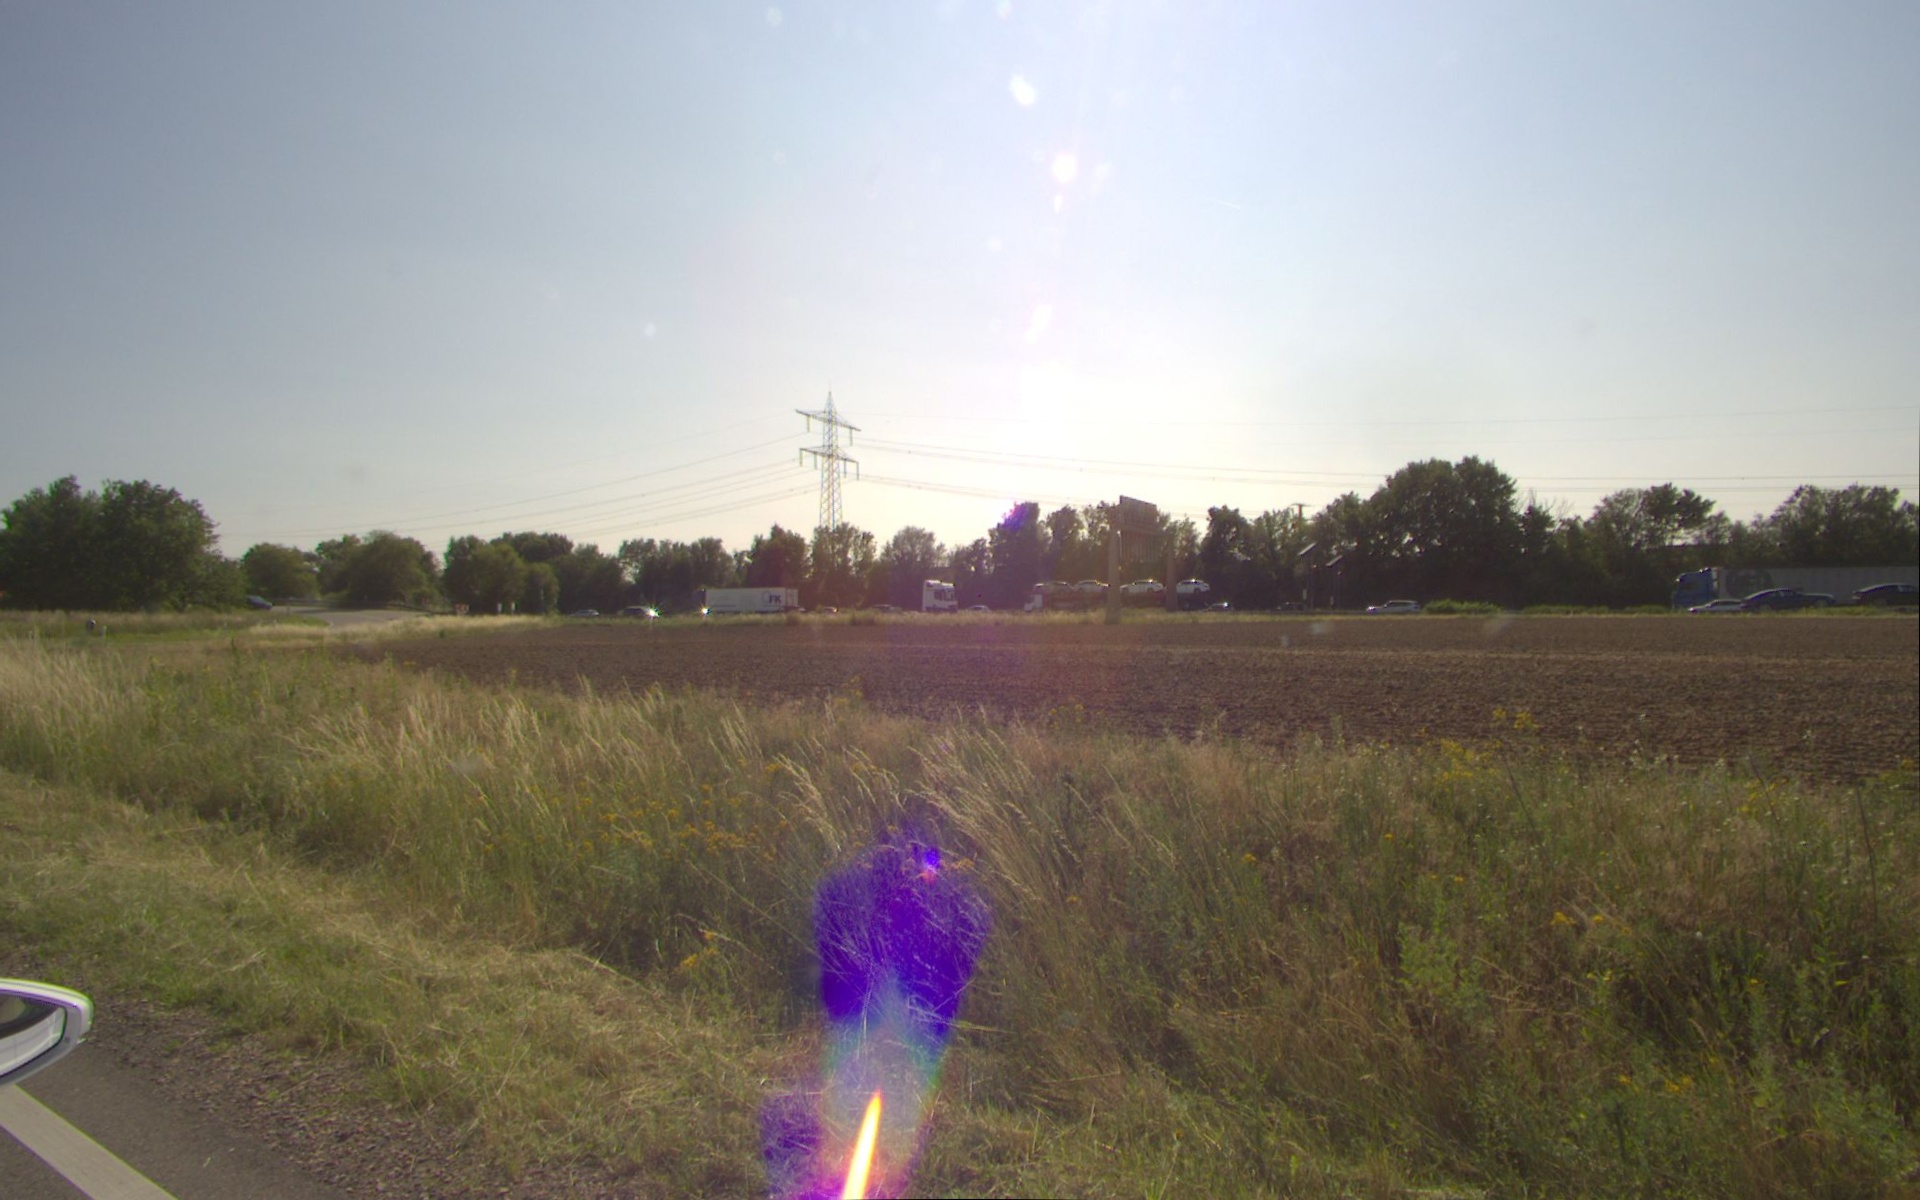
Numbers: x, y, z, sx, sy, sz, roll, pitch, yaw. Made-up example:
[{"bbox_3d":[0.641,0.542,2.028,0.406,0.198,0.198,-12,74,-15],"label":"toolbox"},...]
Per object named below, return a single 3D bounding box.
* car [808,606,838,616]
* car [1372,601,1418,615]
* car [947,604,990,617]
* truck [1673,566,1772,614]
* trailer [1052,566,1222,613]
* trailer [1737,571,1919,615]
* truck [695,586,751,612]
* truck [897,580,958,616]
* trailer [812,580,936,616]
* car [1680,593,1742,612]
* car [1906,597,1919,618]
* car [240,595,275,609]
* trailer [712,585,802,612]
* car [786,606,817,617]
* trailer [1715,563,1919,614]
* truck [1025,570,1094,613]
[{"bbox_3d":[-16.950,1.372,123.876,3.526,1.166,1.394,0,-1,28],"label":"car"},{"bbox_3d":[37.478,0.653,86.248,3.528,1.166,1.393,0,-1,31],"label":"car"},{"bbox_3d":[0.881,1.129,106.495,4.184,1.403,1.848,0,-1,30],"label":"car"},{"bbox_3d":[61.271,-0.745,80.668,5.998,3.782,3.067,0,0,31],"label":"truck"},{"bbox_3d":[18.292,-1.001,104.587,17.293,4.512,3.417,-1,1,28],"label":"trailer"},{"bbox_3d":[57.650,-0.433,60.343,16.823,2.565,2.509,0,1,29],"label":"trailer"},{"bbox_3d":[-31.531,-0.140,133.179,6.873,3.311,3.280,-1,1,29],"label":"truck"},{"bbox_3d":[-3.113,-0.204,95.281,5.274,3.312,2.510,0,1,28],"label":"truck"},{"bbox_3d":[-8.591,-0.177,98.203,12.833,3.312,2.510,0,1,28],"label":"trailer"},{"bbox_3d":[56.311,0.184,75.141,3.548,1.403,1.490,0,-1,30],"label":"car"},{"bbox_3d":[61.899,0.460,62.699,3.564,1.250,1.545,0,-2,30],"label":"car"},{"bbox_3d":[-74.200,0.212,105.716,3.572,1.410,1.595,0,0,28],"label":"car"},{"bbox_3d":[-26.533,-0.202,130.347,12.266,3.311,3.280,-1,1,29],"label":"trailer"},{"bbox_3d":[-18.504,1.340,117.013,3.526,1.166,1.394,0,-1,28],"label":"car"},{"bbox_3d":[66.861,-0.806,77.269,13.430,3.782,3.066,0,0,31],"label":"trailer"},{"bbox_3d":[10.792,-0.906,108.646,6.603,4.512,3.417,-1,1,28],"label":"truck"}]
